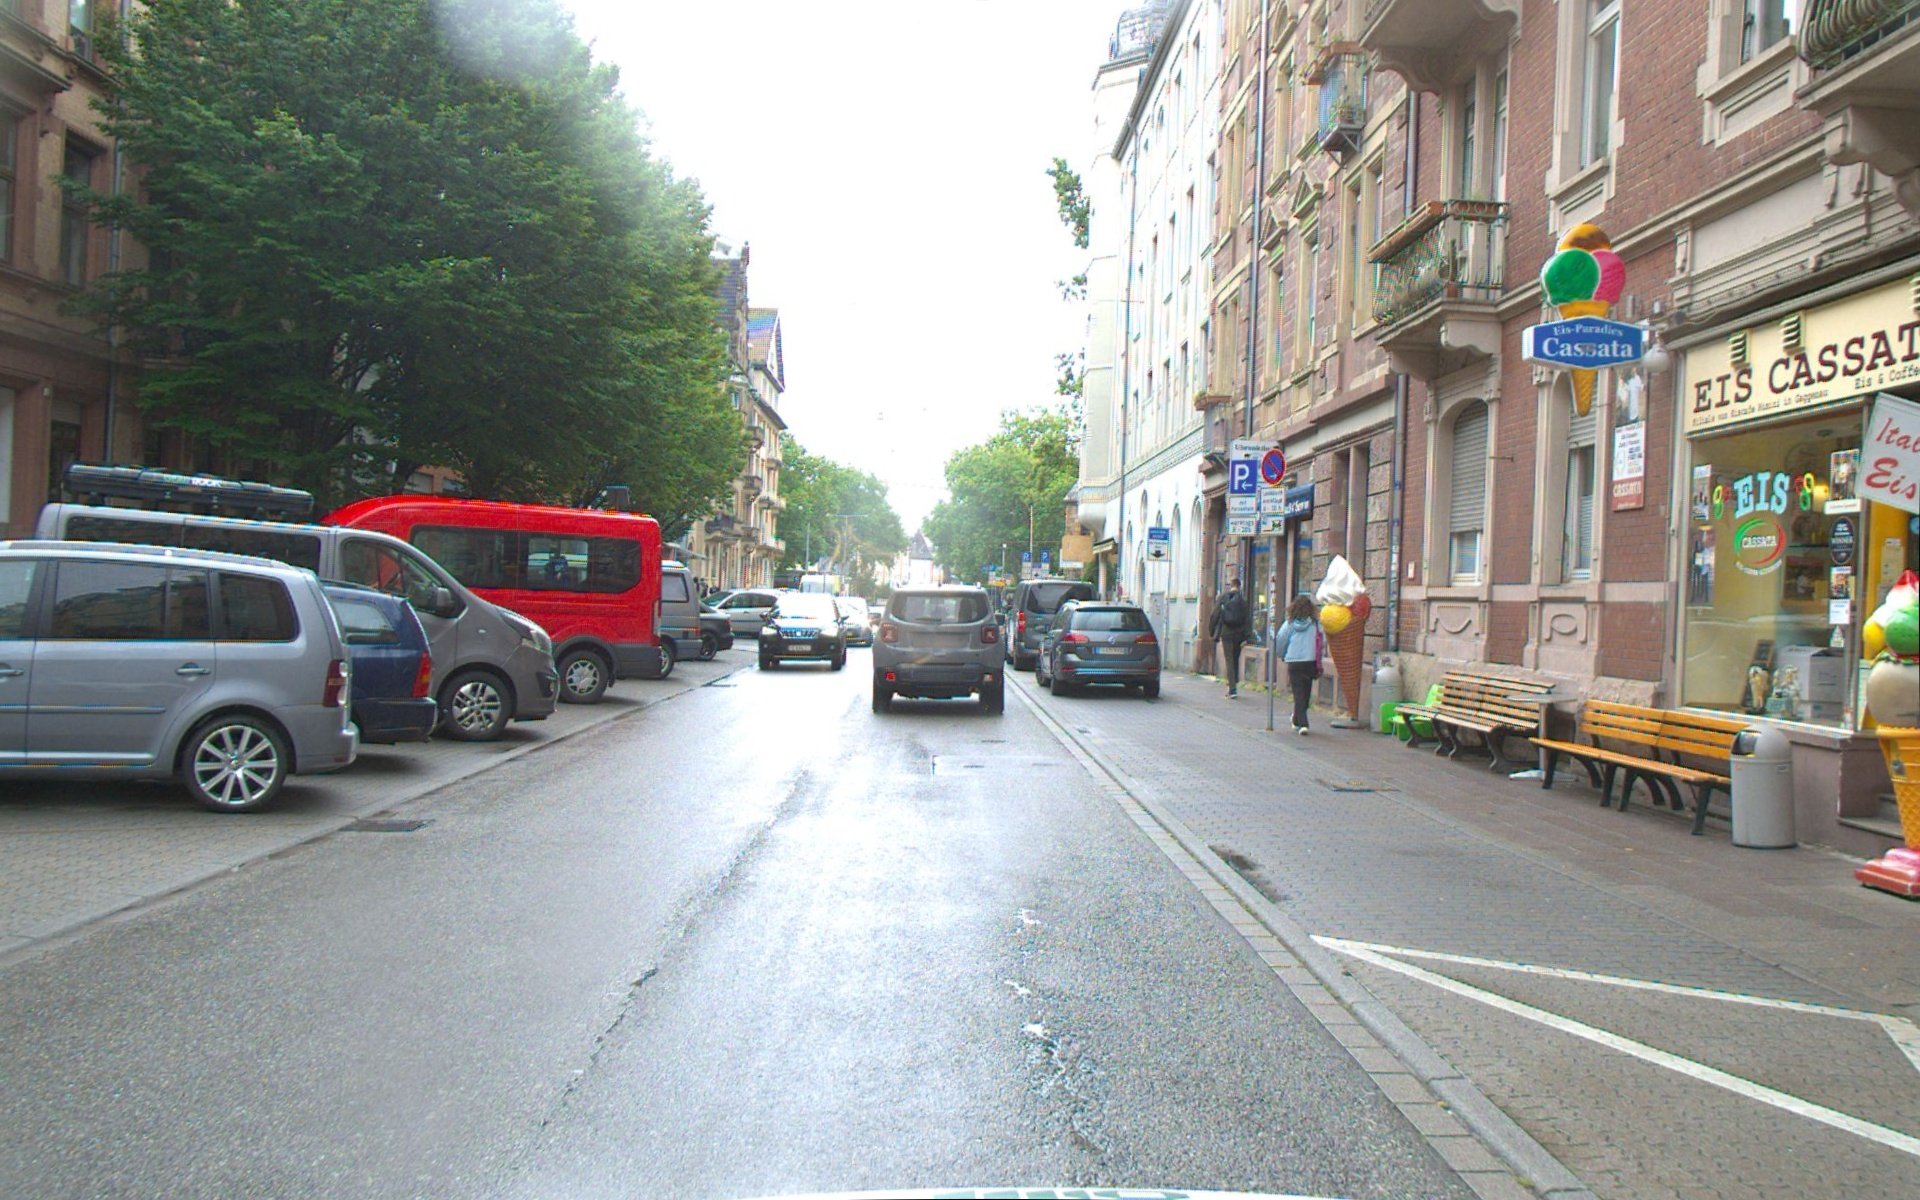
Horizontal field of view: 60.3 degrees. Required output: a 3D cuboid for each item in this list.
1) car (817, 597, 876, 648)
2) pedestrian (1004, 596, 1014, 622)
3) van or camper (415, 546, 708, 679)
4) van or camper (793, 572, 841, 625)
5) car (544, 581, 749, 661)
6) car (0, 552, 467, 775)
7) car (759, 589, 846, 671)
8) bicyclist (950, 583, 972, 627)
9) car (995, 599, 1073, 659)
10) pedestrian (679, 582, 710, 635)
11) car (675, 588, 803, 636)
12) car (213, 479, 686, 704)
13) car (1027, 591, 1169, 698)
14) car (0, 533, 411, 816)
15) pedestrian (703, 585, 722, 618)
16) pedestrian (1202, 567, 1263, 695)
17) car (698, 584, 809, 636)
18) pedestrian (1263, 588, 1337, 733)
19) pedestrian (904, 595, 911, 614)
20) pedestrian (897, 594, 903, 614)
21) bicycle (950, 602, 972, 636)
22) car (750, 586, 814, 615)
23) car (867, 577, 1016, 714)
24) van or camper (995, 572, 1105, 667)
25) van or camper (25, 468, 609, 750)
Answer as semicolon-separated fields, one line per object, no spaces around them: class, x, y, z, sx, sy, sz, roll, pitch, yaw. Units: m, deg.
car;-3.465;0.671;51.039;1.636;1.491;4.001;1;0;-2
pedestrian;3.329;0.615;112.415;0.676;1.741;0.684;1;0;-1
van or camper;-6.631;0.231;27.728;4.396;2.009;1.760;3;0;-35
van or camper;-7.643;-0.032;88.908;2.078;2.575;6.871;-2;-2;-2
car;-6.675;0.458;35.458;3.944;1.472;1.741;4;0;-42
car;-6.315;0.485;13.265;4.286;1.530;1.742;4;0;-24
car;-3.289;0.608;35.102;1.636;1.586;4.000;2;0;-4
bicyclist;0.033;0.159;54.820;0.690;1.428;1.171;1;0;-1
car;1.834;0.704;41.775;1.675;1.425;3.703;1;0;-2
pedestrian;-9.434;0.302;58.708;0.808;1.782;0.757;4;0;5
car;-6.957;0.384;52.255;3.674;1.477;1.664;1;0;-37
car;-6.583;-0.046;21.510;5.494;2.585;2.208;2;0;-29
car;2.169;0.677;27.005;1.804;1.572;4.001;1;0;-2
car;-6.064;0.415;10.820;4.380;1.659;1.828;5;0;-28
pedestrian;-12.458;0.066;83.297;0.694;1.578;0.608;4;0;5
pedestrian;4.309;0.469;26.114;0.667;1.968;0.808;0;2;34
car;-6.877;0.329;55.138;3.346;1.683;1.614;1;0;-34
pedestrian;3.945;0.690;19.215;0.665;1.642;0.810;1;0;-1
pedestrian;-4.323;0.374;136.261;0.458;1.613;0.752;1;0;-2
pedestrian;-4.894;0.321;135.056;0.458;1.613;0.752;1;0;-2
bicycle;0.021;0.628;54.818;0.690;1.072;1.812;1;0;-1
car;-11.258;0.046;104.569;3.626;1.586;1.776;4;-1;-38
car;-0.318;0.581;23.271;1.860;1.700;4.503;1;0;-2
van or camper;1.901;0.391;36.439;1.980;1.924;5.053;1;0;-2
van or camper;-6.222;0.139;16.241;4.951;2.390;2.324;2;0;-28
